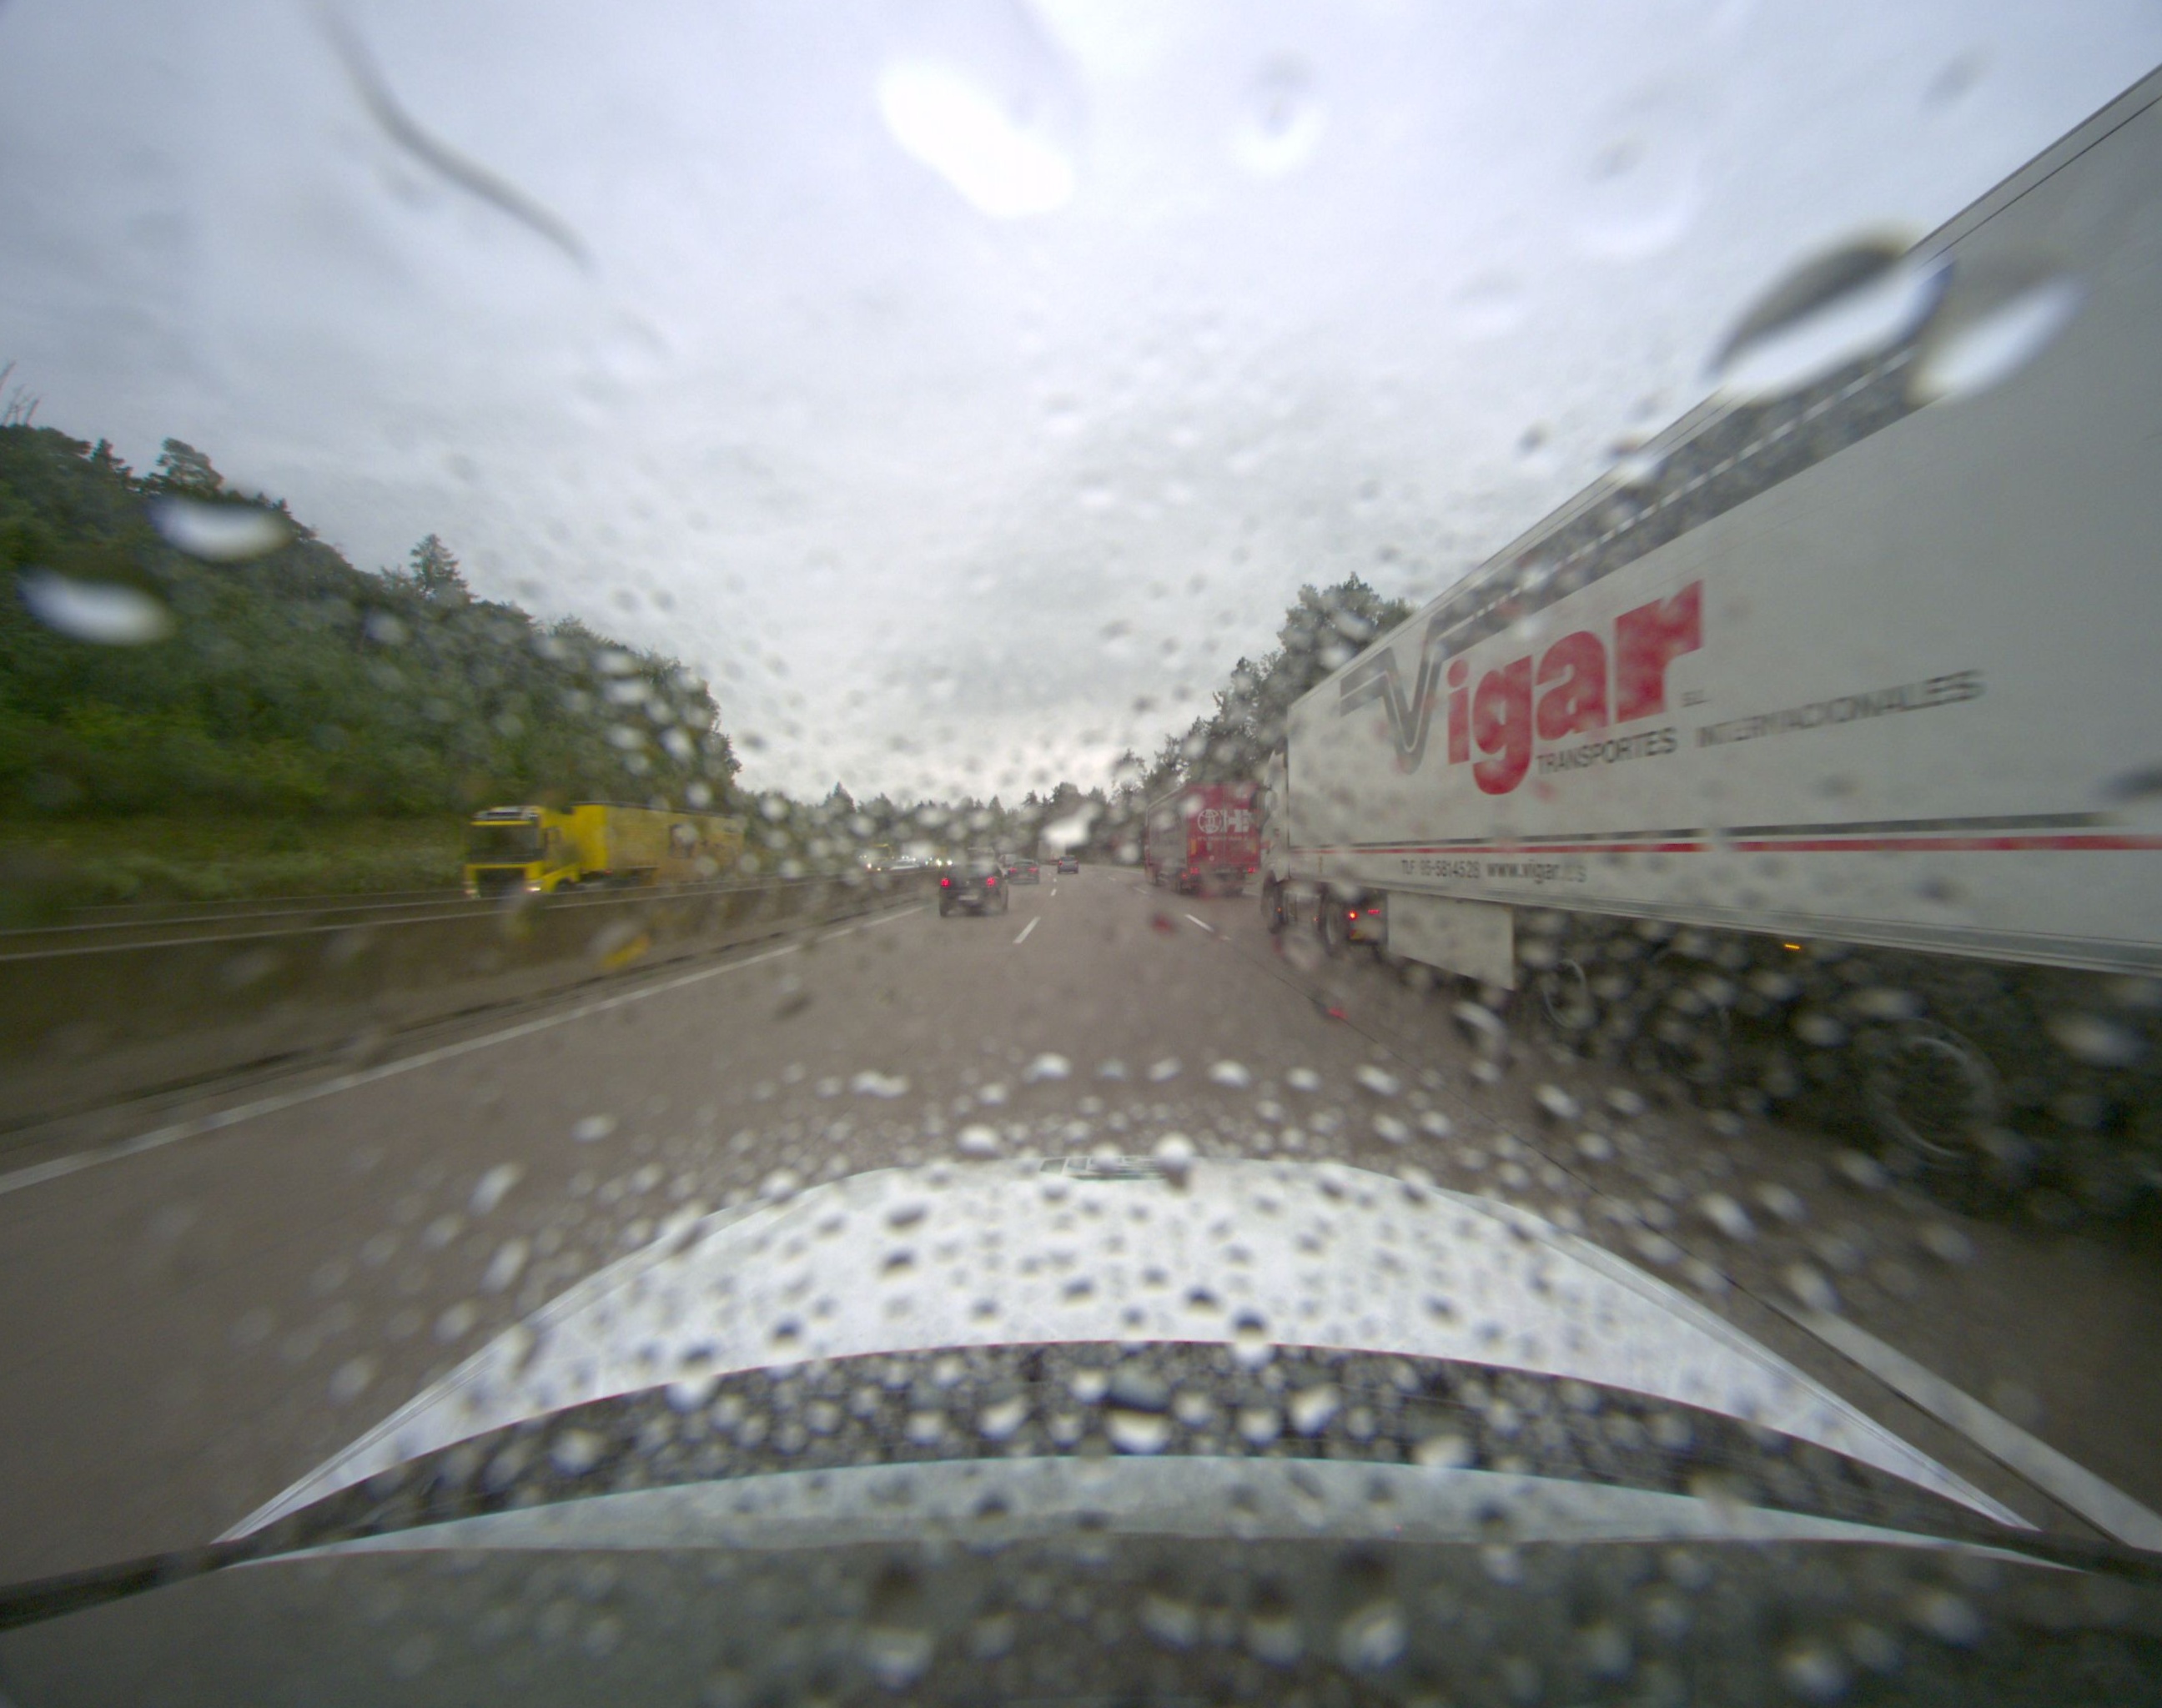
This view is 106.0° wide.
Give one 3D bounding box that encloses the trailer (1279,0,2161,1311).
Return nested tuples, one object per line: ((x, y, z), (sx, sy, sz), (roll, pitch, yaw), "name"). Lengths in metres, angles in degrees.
((4.771, -0.625, 7.330), (2.725, 4.103, 13.682), (-1, 0, 0), "trailer")

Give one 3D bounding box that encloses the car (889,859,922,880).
((-13.361, 1.162, 62.223), (1.649, 1.479, 4.542), (-1, 0, -1), "car")

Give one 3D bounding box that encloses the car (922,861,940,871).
((-21.353, 1.681, 115.974), (1.801, 1.346, 4.761), (-1, 0, -3), "car")

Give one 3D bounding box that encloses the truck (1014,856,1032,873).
((-10.334, 1.810, 143.900), (2.271, 2.886, 7.873), (0, 1, -11), "truck")

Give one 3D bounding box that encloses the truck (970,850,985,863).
((-25.671, 0.581, 202.239), (3.085, 2.905, 7.870), (0, 1, -12), "truck")

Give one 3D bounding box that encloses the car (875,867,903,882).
((-17.525, 1.853, 74.506), (1.649, 1.198, 4.541), (-1, 0, -2), "car")

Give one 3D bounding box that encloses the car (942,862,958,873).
((-17.354, 1.766, 108.357), (1.649, 1.346, 4.081), (-1, 0, -3), "car")

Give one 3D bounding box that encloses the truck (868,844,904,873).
((-23.563, 0.517, 98.770), (2.616, 3.296, 9.370), (-1, 0, -3), "truck")

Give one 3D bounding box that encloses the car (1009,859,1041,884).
((-3.211, 0.998, 47.304), (1.548, 1.351, 3.683), (1, 0, 0), "car")

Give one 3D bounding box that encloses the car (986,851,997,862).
((-17.387, 0.431, 158.849), (1.991, 2.059, 3.992), (-1, 0, -6), "car")

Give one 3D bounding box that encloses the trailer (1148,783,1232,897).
((4.323, -0.492, 34.743), (2.361, 3.954, 12.526), (-1, 0, 2), "trailer")

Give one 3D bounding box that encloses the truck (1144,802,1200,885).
((4.593, -0.482, 42.081), (2.365, 3.954, 6.163), (-1, 0, 2), "truck")

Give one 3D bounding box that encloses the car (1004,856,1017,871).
((-9.930, 1.348, 114.085), (1.723, 2.013, 3.649), (-1, 0, -6), "car")

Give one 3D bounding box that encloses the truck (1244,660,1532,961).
((4.818, -0.602, 14.183), (2.789, 4.104, 5.968), (-1, 0, 0), "truck")

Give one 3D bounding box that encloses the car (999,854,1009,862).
((-15.519, 0.784, 163.253), (1.880, 1.473, 3.990), (1, 0, -7), "car")

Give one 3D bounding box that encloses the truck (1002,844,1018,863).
((-16.395, -0.147, 188.083), (3.366, 4.131, 10.411), (0, 0, -7), "truck")

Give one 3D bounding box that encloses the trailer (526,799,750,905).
((-19.194, -0.064, 37.013), (3.006, 3.875, 13.691), (-1, 0, -2), "trailer")

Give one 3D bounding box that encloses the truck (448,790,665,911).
((-19.028, -0.100, 30.383), (3.018, 3.875, 8.110), (-1, 0, -2), "truck")

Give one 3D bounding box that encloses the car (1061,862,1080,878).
((-0.920, 1.382, 71.461), (1.548, 1.351, 3.684), (1, 0, 1), "car")

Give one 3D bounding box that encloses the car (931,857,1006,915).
((-3.088, 0.846, 22.942), (1.679, 1.462, 3.681), (1, 0, -2), "car")

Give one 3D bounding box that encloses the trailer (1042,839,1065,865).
((-4.625, -0.343, 135.697), (2.419, 4.068, 12.017), (0, 0, -9), "trailer")
